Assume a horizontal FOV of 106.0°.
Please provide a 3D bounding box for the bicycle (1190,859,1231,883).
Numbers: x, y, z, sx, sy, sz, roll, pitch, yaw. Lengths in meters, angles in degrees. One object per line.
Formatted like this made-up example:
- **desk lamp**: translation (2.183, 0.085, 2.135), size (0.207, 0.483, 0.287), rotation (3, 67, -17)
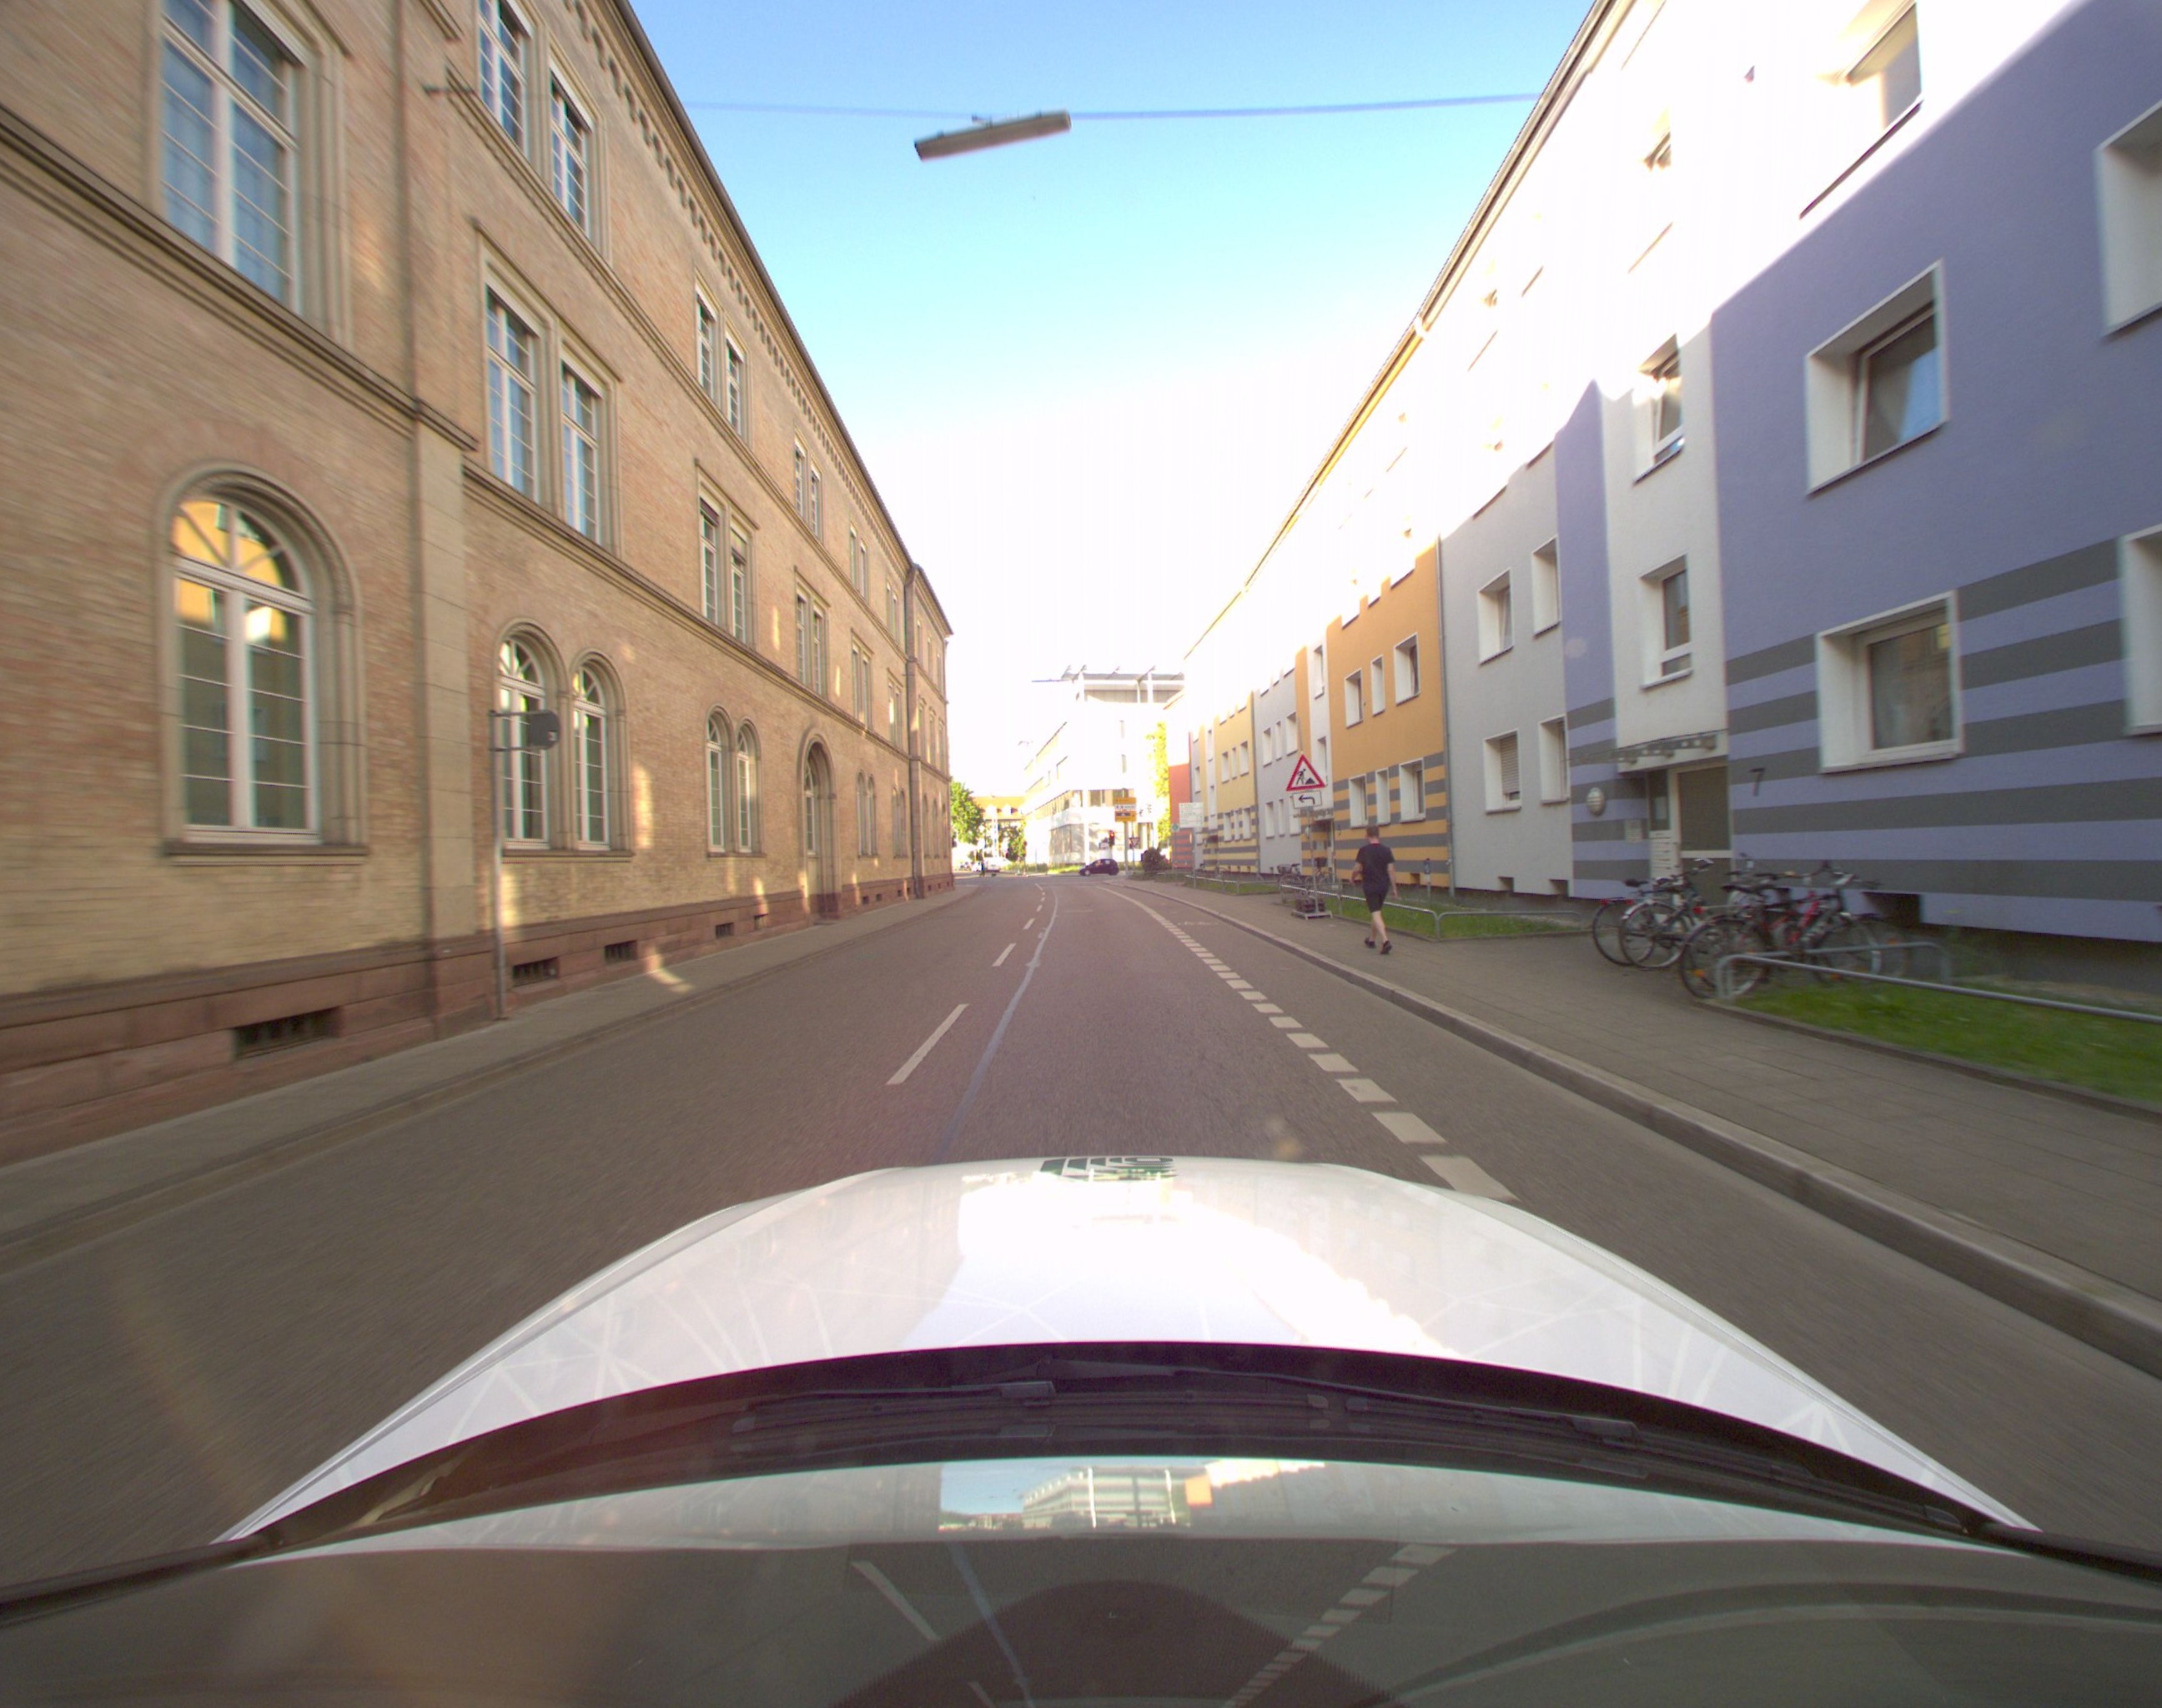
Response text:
- **bicycle**: translation (5.971, 0.794, 37.607), size (1.750, 1.004, 0.612), rotation (-3, -1, -5)

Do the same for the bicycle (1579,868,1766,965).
- **bicycle**: translation (6.422, 0.667, 8.871), size (1.742, 0.946, 0.335), rotation (-3, -1, 0)

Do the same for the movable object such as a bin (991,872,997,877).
- **movable object such as a bin**: translation (-8.478, 1.976, 79.356), size (0.590, 0.480, 0.285), rotation (-2, -1, -16)

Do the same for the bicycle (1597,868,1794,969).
- **bicycle**: translation (6.387, 0.659, 8.492), size (1.742, 0.946, 0.326), rotation (-3, -1, 1)

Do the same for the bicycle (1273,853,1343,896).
- **bicycle**: translation (6.518, 0.588, 23.398), size (1.805, 1.137, 0.551), rotation (-2, -1, -1)

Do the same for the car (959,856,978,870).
- **car**: translation (-17.541, 1.450, 126.875), size (2.332, 2.112, 4.982), rotation (0, -1, -14)

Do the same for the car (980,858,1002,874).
- **car**: translation (-11.740, 1.559, 106.390), size (2.425, 2.112, 5.210), rotation (0, -1, -11)

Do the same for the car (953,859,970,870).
- **car**: translation (-20.088, 1.743, 136.725), size (2.332, 1.733, 4.982), rotation (0, -1, -14)

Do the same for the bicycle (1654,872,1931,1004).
- **bicycle**: translation (5.801, 0.664, 6.694), size (1.742, 0.946, 0.552), rotation (-3, -1, 0)

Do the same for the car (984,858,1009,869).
- **car**: translation (-14.882, 1.713, 143.917), size (4.003, 1.915, 1.905), rotation (0, -1, -23)

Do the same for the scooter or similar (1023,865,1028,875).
- **scooter or similar**: translation (-5.948, 1.727, 87.135), size (0.325, 1.059, 1.138), rotation (-2, 0, -11)

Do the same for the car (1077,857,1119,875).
- **car**: translation (1.475, 1.027, 71.661), size (3.432, 1.446, 1.767), rotation (-2, -1, -13)

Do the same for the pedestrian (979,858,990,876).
- **pedestrian**: translation (-9.263, 1.238, 78.120), size (0.927, 1.759, 0.844), rotation (0, -1, -13)

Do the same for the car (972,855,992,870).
- **car**: translation (-14.303, 1.229, 117.470), size (2.332, 2.112, 4.982), rotation (0, -1, -14)

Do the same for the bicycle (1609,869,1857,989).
- **bicycle**: translation (5.812, 0.655, 7.316), size (1.742, 0.946, 0.552), rotation (-3, -1, 0)

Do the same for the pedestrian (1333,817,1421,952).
- **pedestrian**: translation (4.141, 0.408, 11.494), size (0.694, 1.760, 1.189), rotation (-4, -1, 1)
